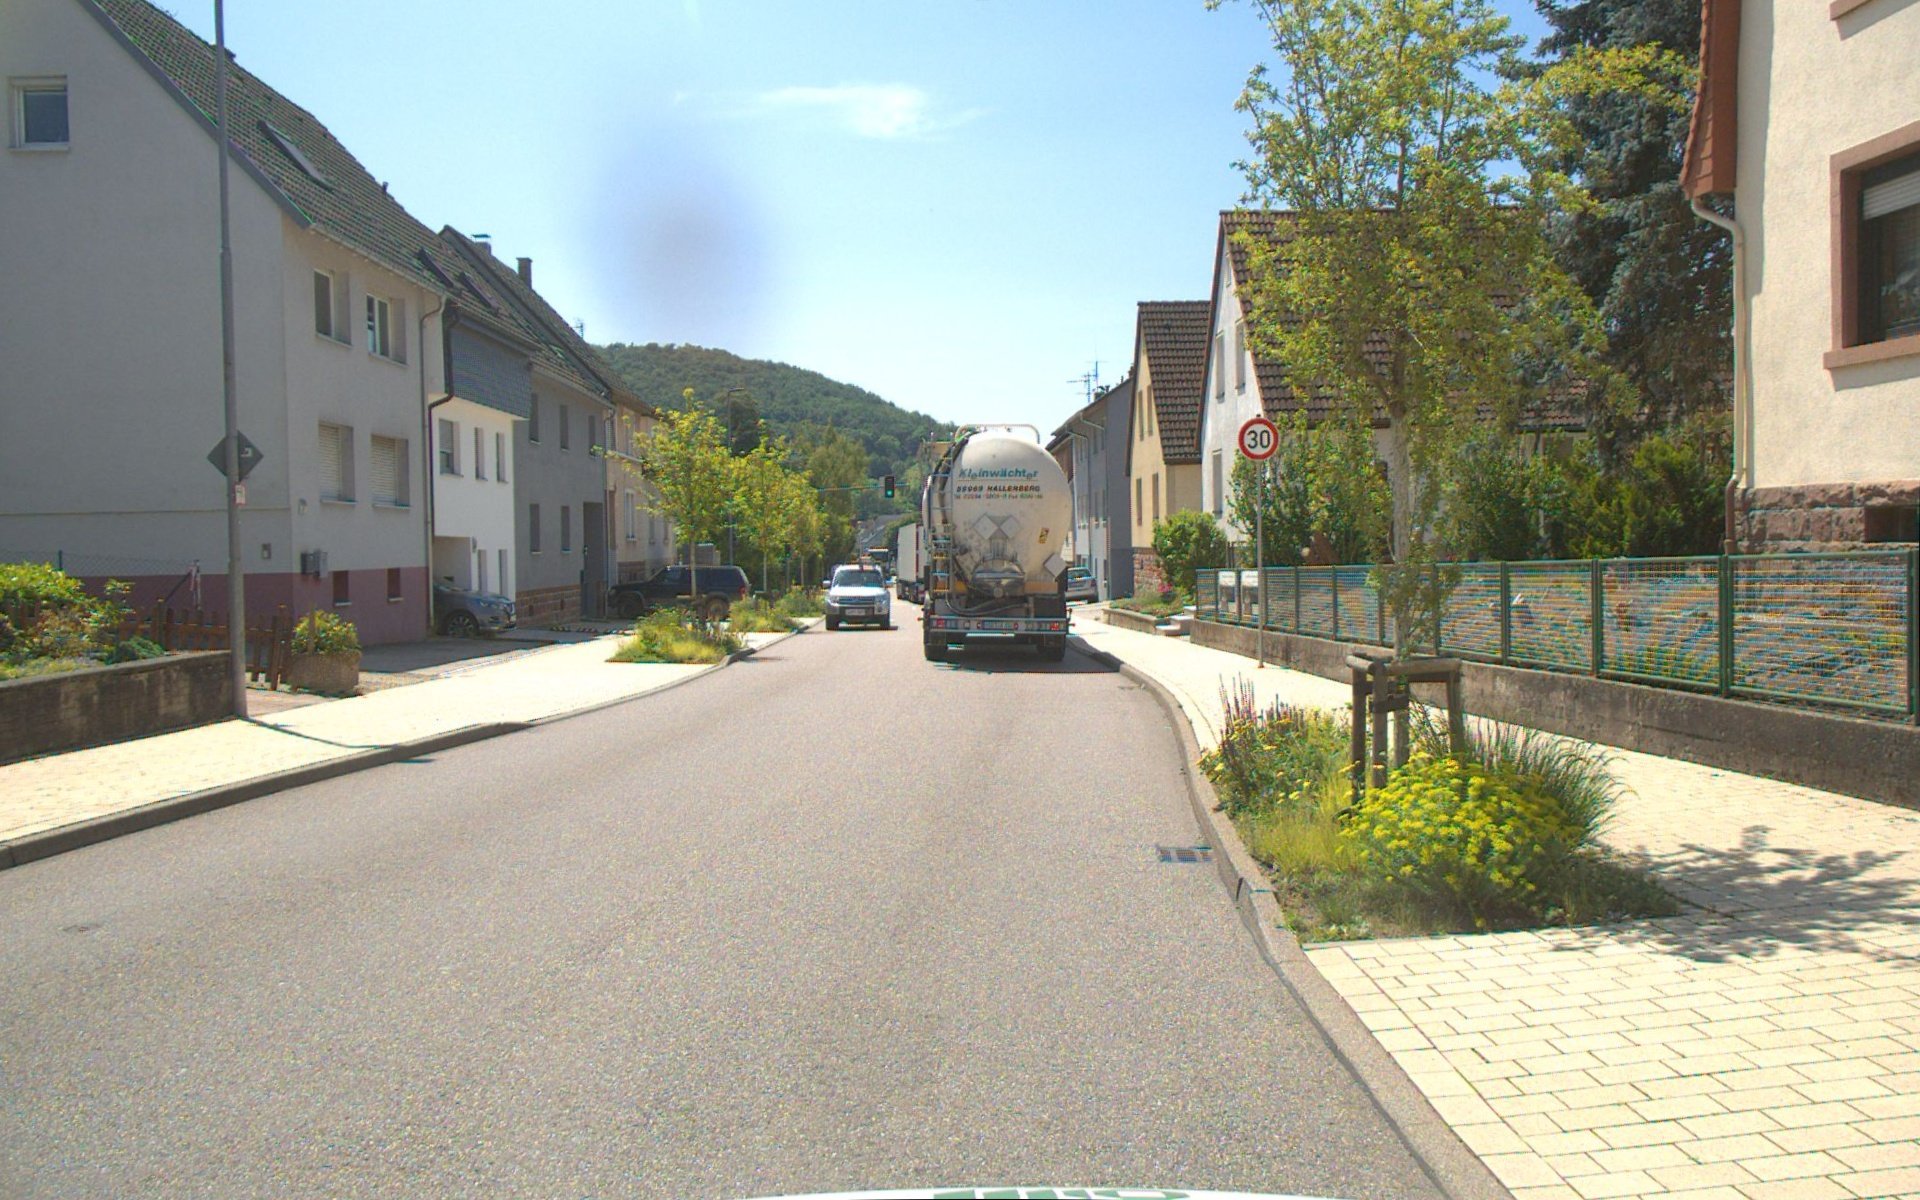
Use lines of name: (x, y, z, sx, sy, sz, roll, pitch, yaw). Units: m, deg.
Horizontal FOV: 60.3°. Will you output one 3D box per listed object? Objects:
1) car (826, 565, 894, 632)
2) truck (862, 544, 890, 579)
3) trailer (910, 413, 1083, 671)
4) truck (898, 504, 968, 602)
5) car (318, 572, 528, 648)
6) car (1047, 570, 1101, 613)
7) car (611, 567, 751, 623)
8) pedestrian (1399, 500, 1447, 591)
car: (-2.924, -0.079, 49.048, 1.851, 1.893, 4.576, 0, 1, -2)
truck: (-8.538, -3.934, 169.327, 2.674, 3.430, 8.632, 0, 1, -2)
trailer: (0.454, -1.015, 31.312, 2.739, 4.070, 10.321, 0, 1, -1)
truck: (-1.556, -2.305, 86.997, 2.791, 4.760, 11.326, 1, 0, -5)
car: (-11.437, 0.187, 35.416, 3.906, 1.572, 1.832, 0, 1, -1)
car: (4.468, -0.338, 65.200, 1.754, 1.568, 4.519, -2, 1, 0)
car: (-9.113, -0.179, 54.263, 4.306, 1.781, 1.877, -1, 1, -3)
pedestrian: (8.679, -1.020, 30.988, 0.592, 1.643, 0.552, -6, 1, -1)
